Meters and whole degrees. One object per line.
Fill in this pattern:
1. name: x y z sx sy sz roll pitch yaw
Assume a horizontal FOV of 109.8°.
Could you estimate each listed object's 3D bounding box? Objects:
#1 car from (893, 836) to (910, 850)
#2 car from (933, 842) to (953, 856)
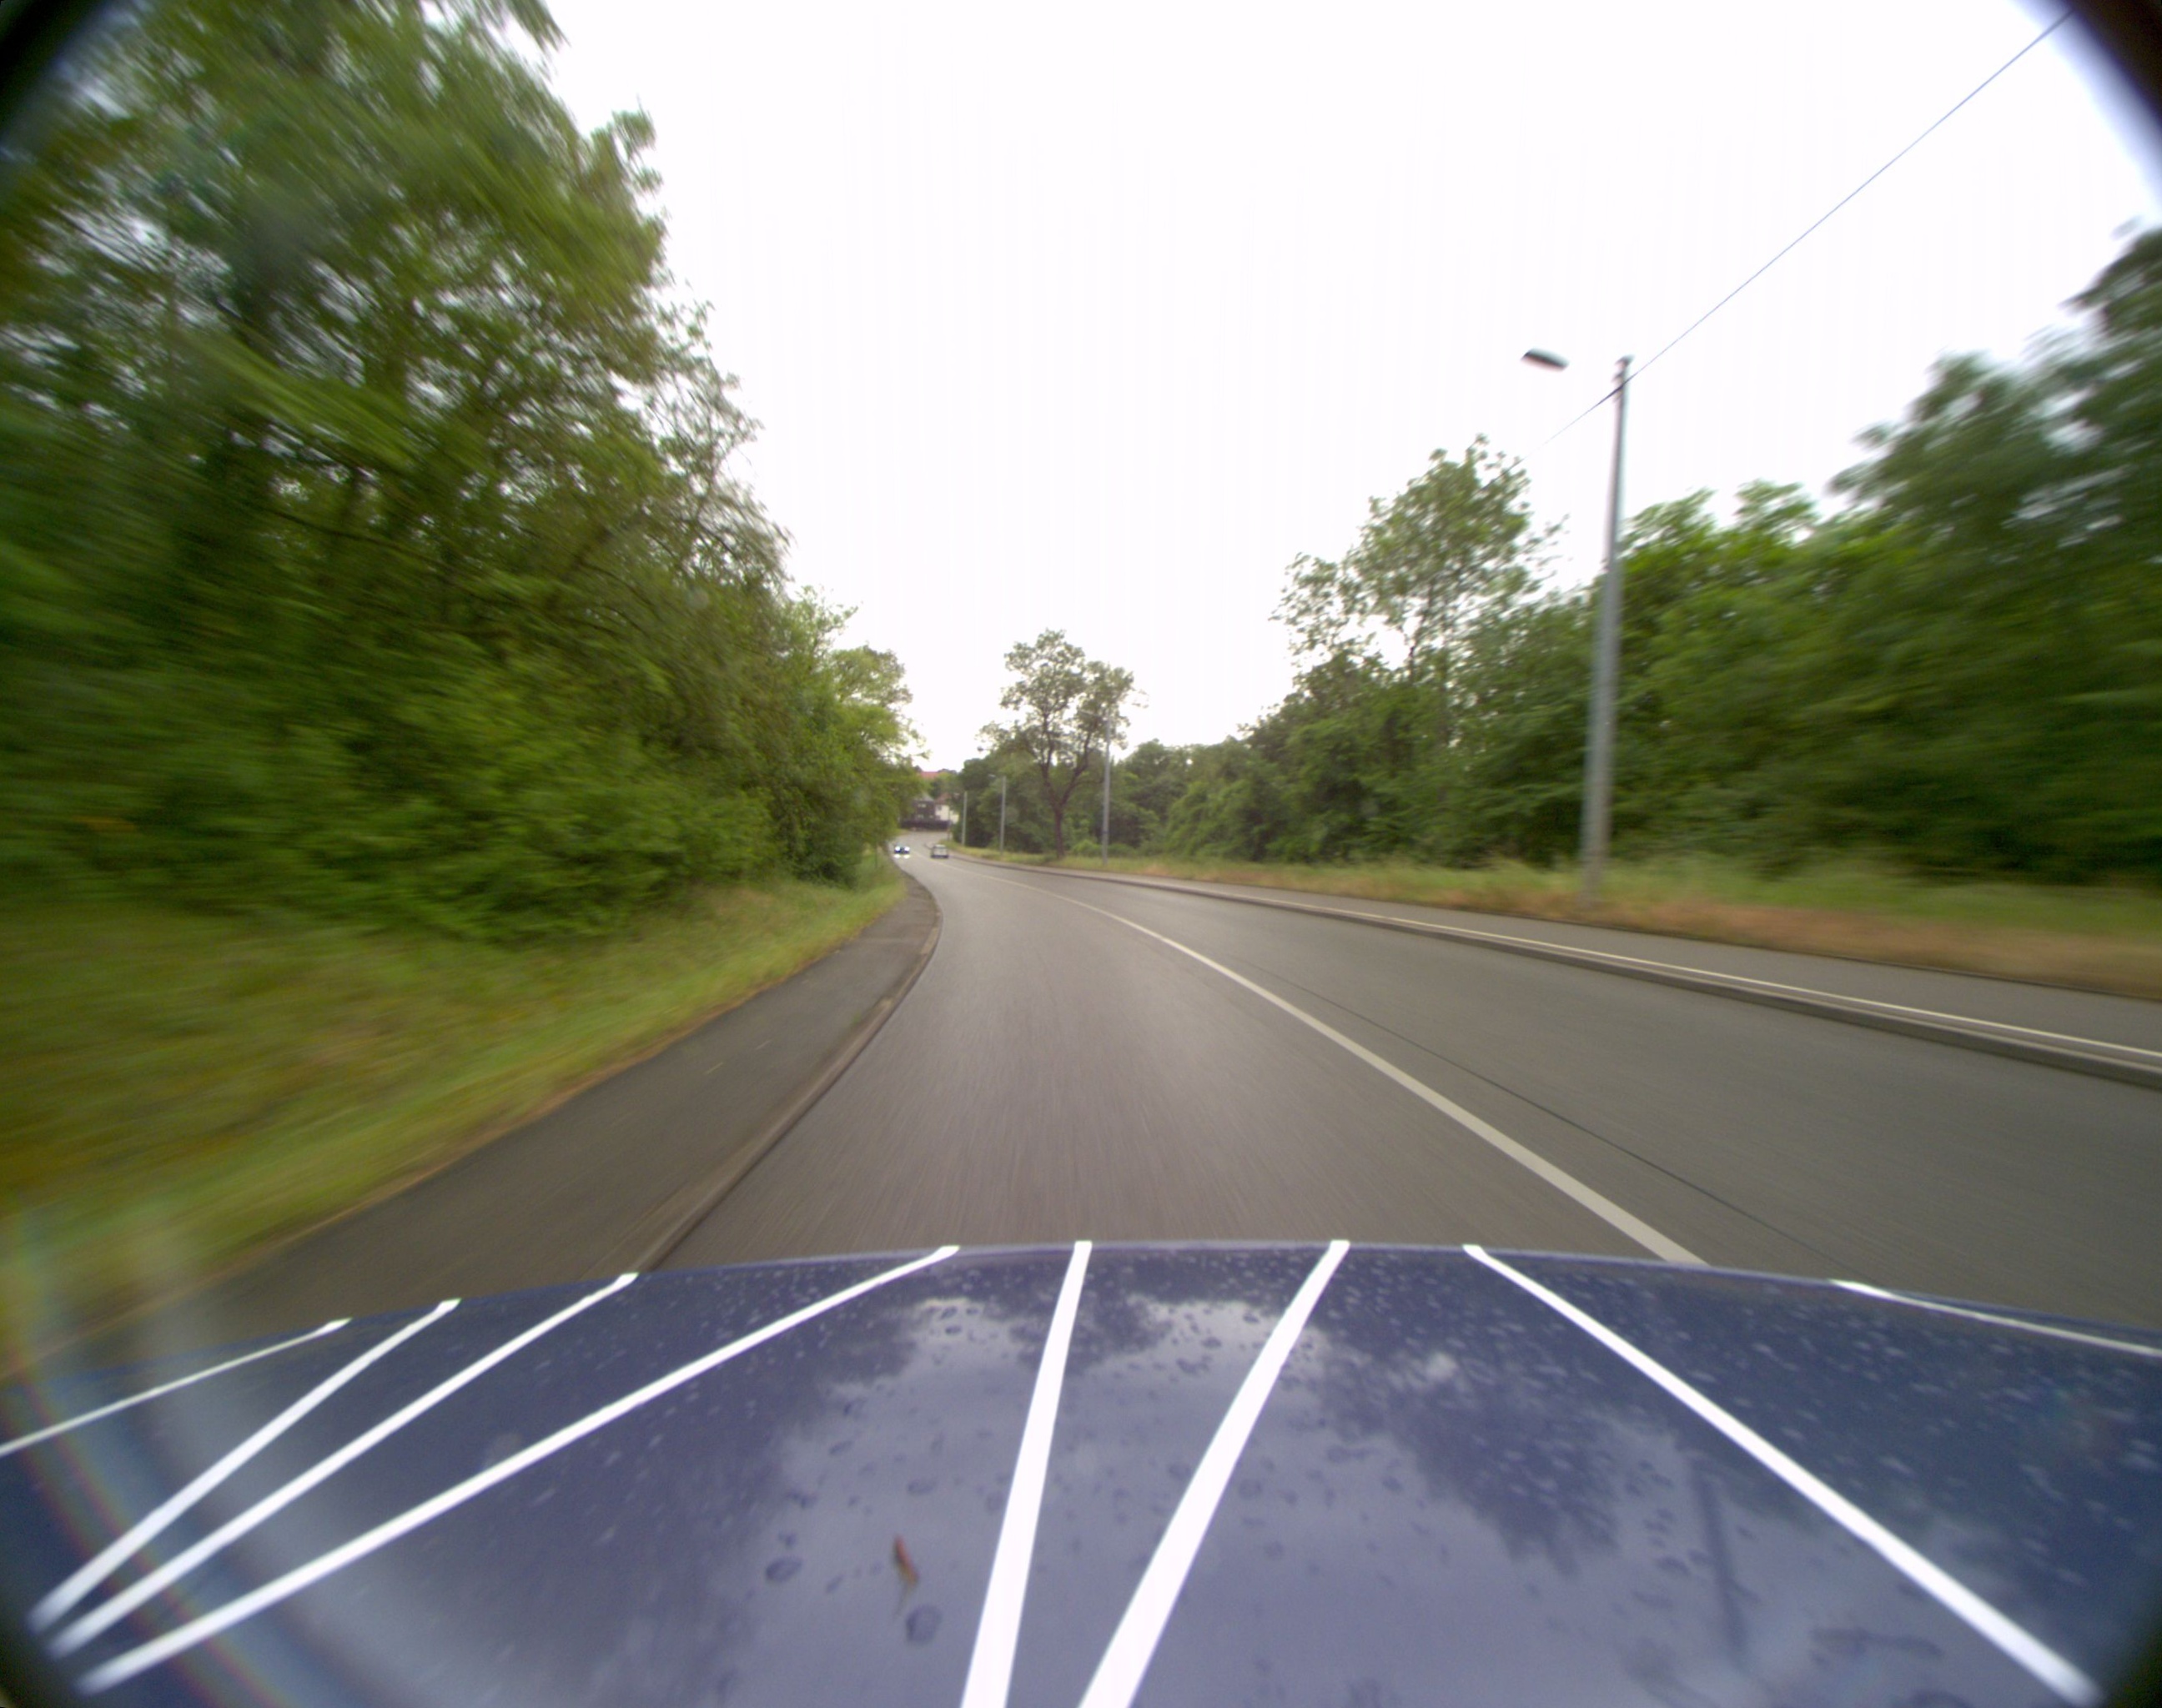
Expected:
1. car: -23.058 -1.400 97.624 2.001 1.707 3.994 0 3 -12
2. car: -15.813 -0.576 87.031 1.787 1.422 4.467 1 1 -17
